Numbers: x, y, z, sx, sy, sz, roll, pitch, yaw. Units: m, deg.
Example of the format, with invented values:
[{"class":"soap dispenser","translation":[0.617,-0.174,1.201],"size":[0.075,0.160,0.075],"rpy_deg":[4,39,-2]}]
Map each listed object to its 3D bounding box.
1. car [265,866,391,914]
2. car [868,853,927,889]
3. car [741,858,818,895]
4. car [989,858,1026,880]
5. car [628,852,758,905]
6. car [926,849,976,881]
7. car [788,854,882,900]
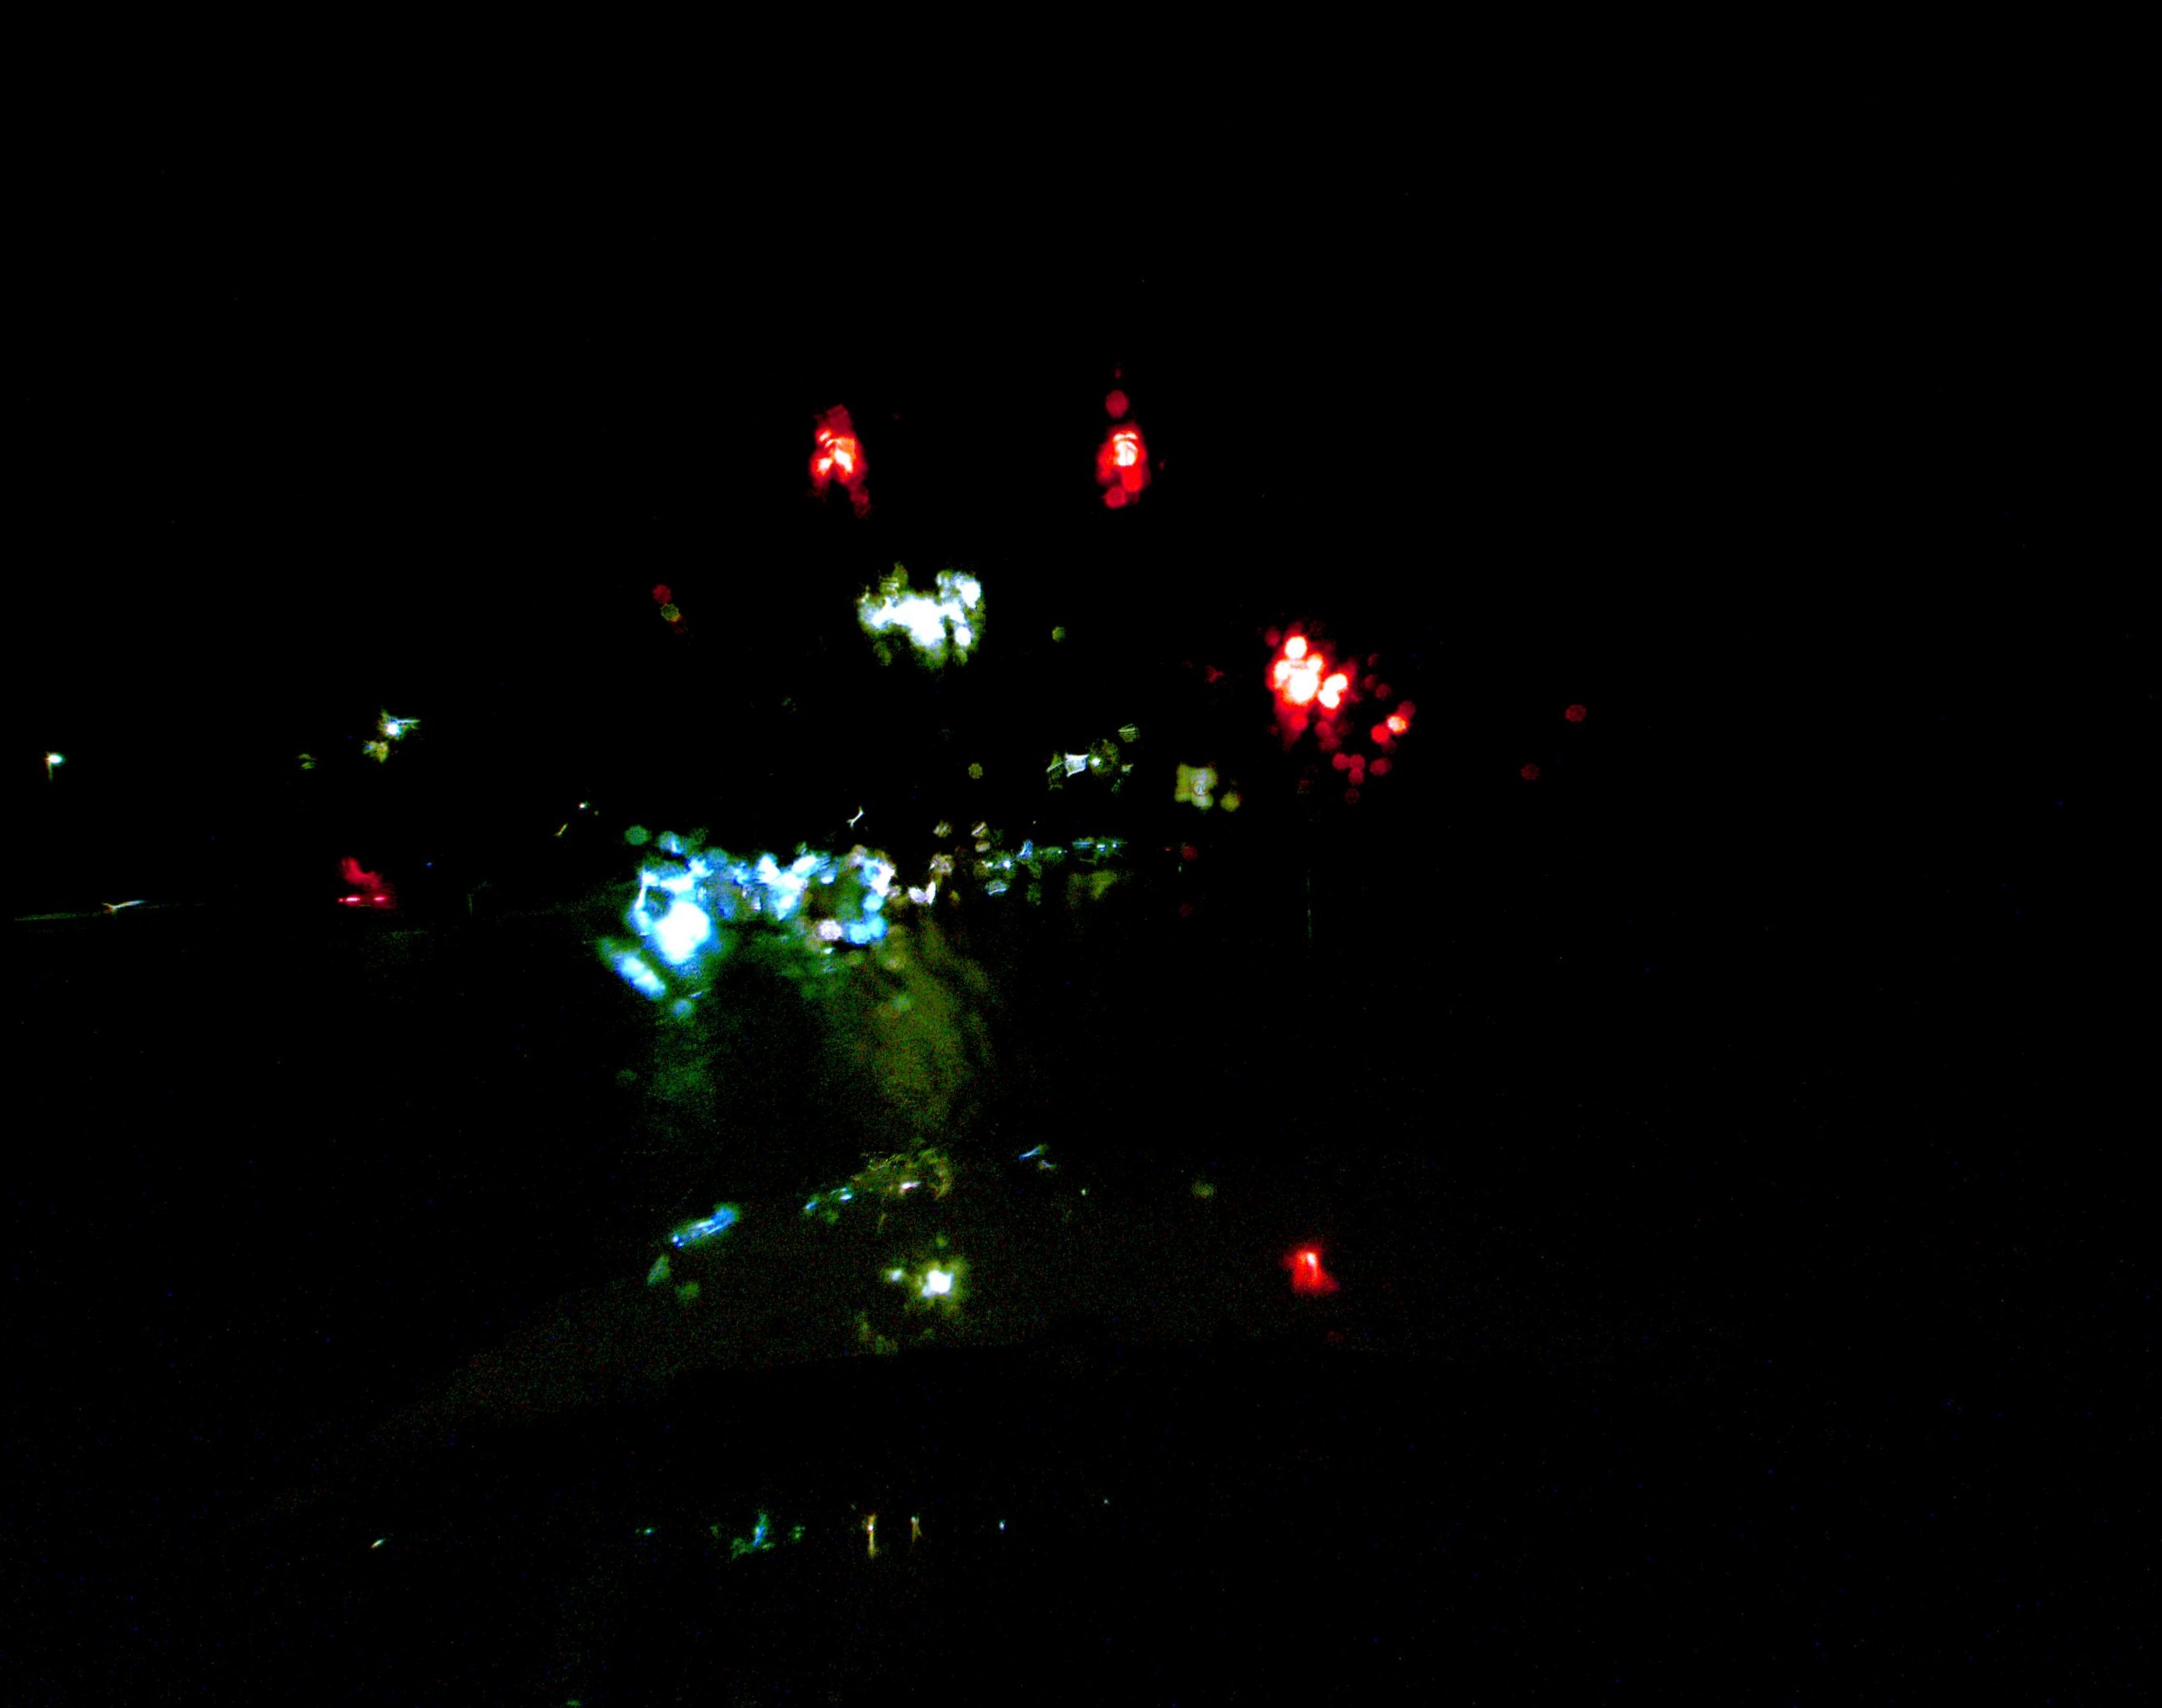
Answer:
[{"class":"car","translation":[-32.067,1.520,34.752],"size":[3.965,1.831,1.725],"rpy_deg":[-2,0,7]},{"class":"car","translation":[-8.405,0.778,37.572],"size":[1.577,1.526,3.657],"rpy_deg":[-1,-1,6]},{"class":"car","translation":[-12.562,0.920,34.121],"size":[1.661,1.454,3.730],"rpy_deg":[-1,-1,3]},{"class":"car","translation":[-5.277,1.074,59.125],"size":[1.699,1.534,4.609],"rpy_deg":[-1,-1,7]},{"class":"car","translation":[-12.785,0.738,27.243],"size":[1.785,1.571,4.916],"rpy_deg":[-1,0,2]},{"class":"car","translation":[-7.424,0.623,46.883],"size":[1.708,1.703,4.151],"rpy_deg":[-1,-1,7]},{"class":"car","translation":[-9.084,0.805,30.510],"size":[1.691,1.571,4.718],"rpy_deg":[-1,0,5]}]
